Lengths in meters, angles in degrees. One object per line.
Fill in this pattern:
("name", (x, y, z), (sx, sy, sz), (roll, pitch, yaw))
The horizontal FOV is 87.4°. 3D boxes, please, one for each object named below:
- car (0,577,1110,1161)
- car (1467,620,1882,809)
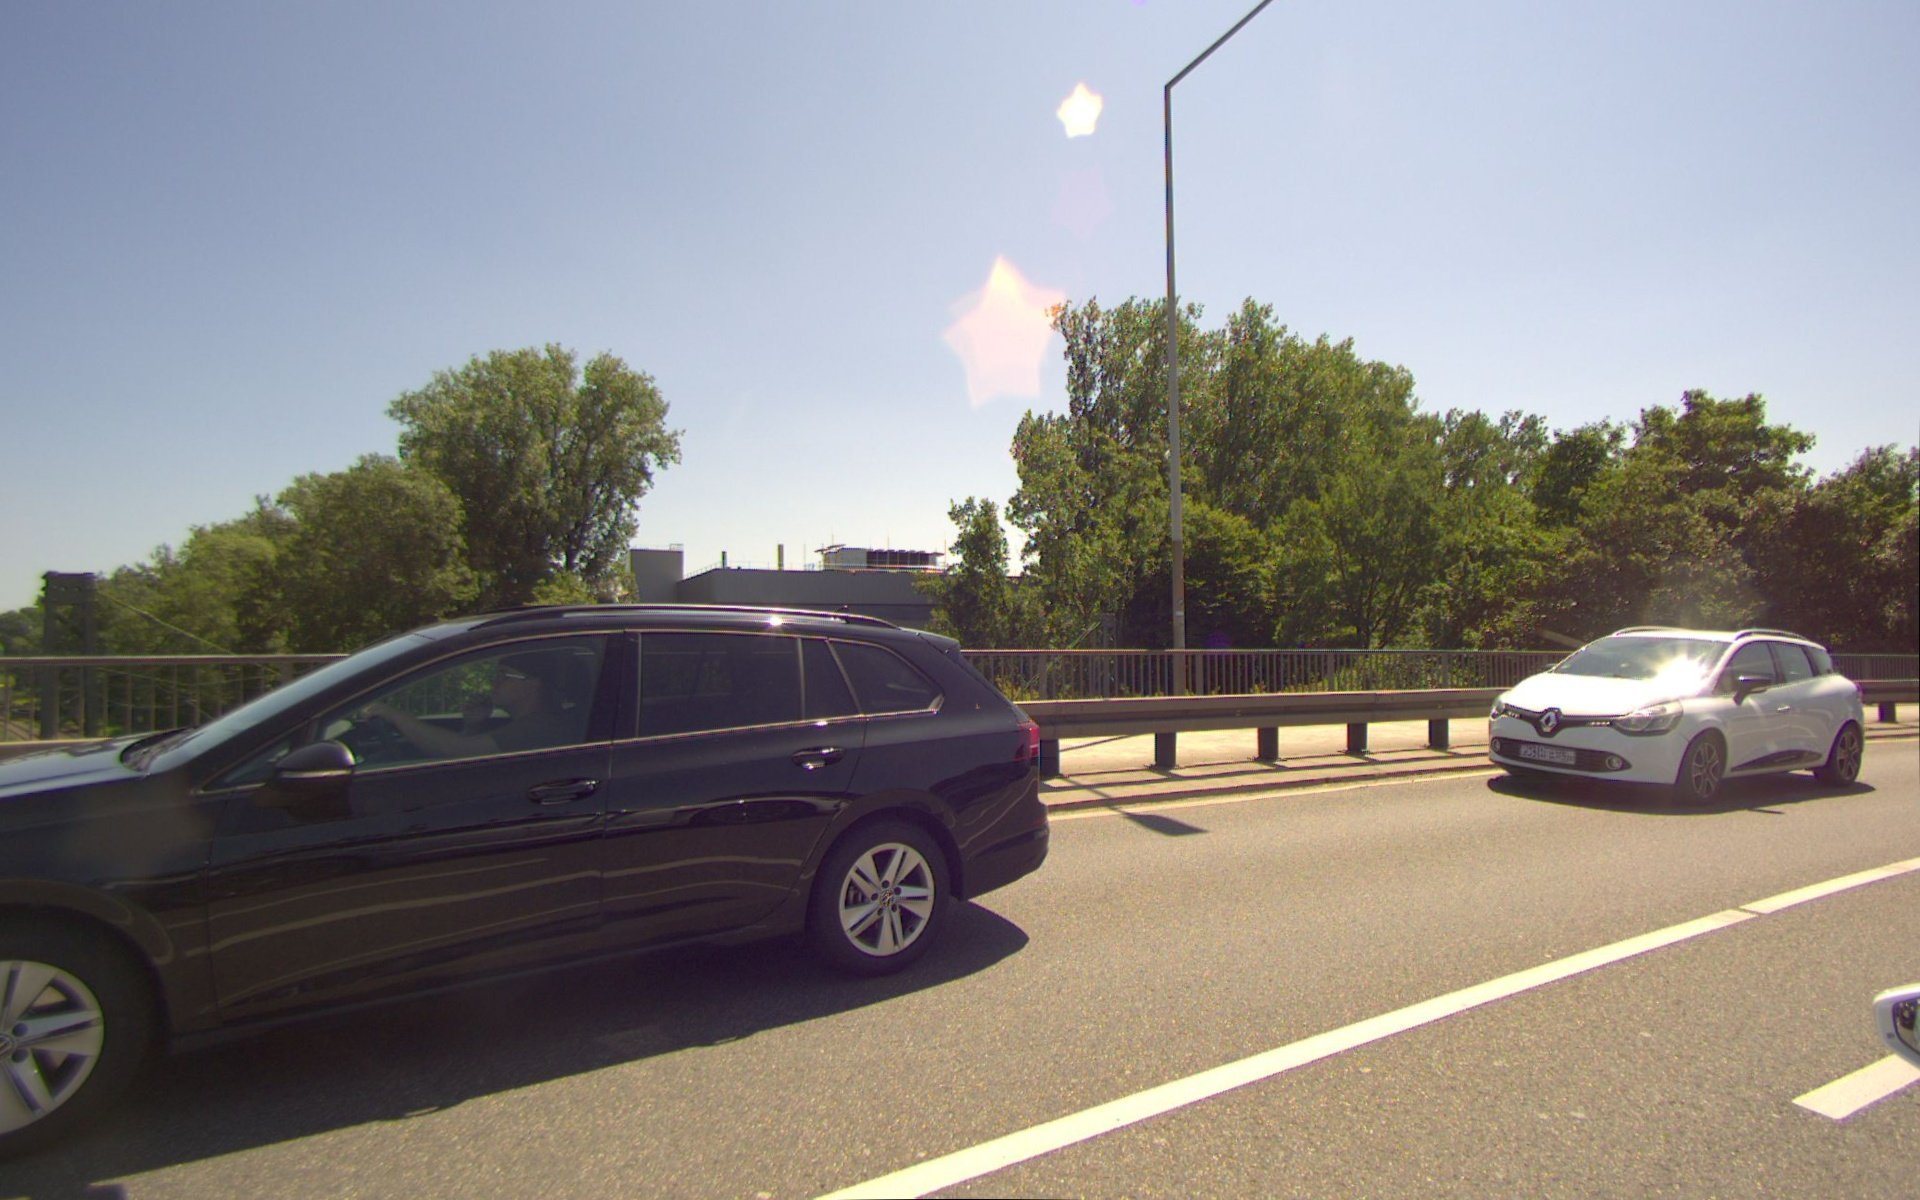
("car", (-1.660, 0.722, 4.024), (4.408, 1.488, 1.702), (1, -1, -31))
("car", (6.829, 0.965, 9.537), (4.004, 1.468, 1.593), (2, -1, -28))
